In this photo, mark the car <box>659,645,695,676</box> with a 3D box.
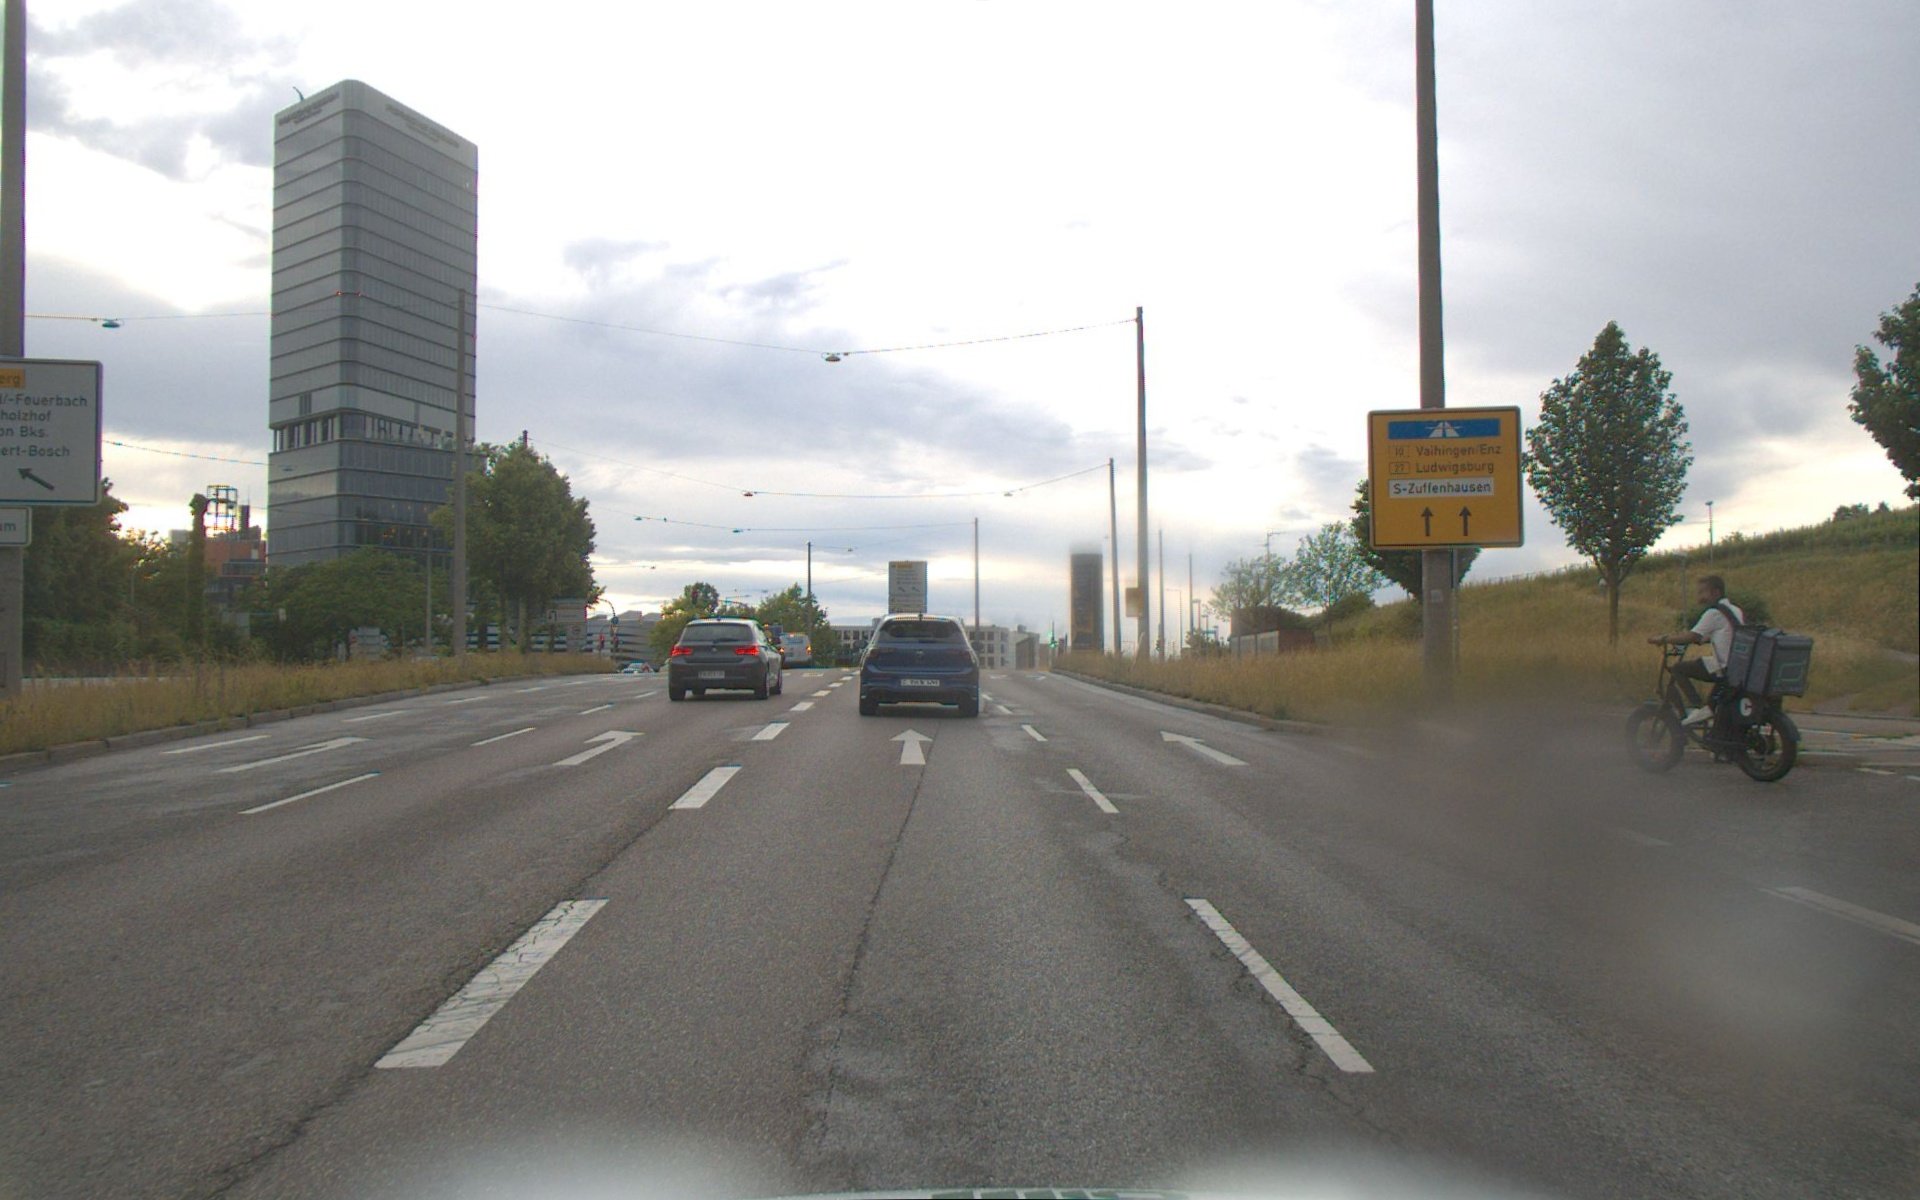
[{"bbox_3d":[-20.213,4.306,118.228,1.963,2.049,3.980,-2,0,-18],"label":"car"}]

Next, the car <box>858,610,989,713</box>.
[{"bbox_3d":[-0.517,0.908,24.882,1.800,1.418,3.999,0,-2,0],"label":"car"}]

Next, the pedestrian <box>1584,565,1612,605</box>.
[{"bbox_3d":[33.265,-0.778,86.229,0.772,2.049,1.042,-1,-1,-34],"label":"pedestrian"}]

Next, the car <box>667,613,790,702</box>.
[{"bbox_3d":[-4.185,0.998,30.398,1.831,1.487,3.974,0,0,-2],"label":"car"}]

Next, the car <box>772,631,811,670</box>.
[{"bbox_3d":[-9.336,2.803,91.559,1.869,2.008,5.081,-1,-3,-9],"label":"car"}]

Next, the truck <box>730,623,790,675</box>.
[{"bbox_3d":[-13.096,3.210,107.975,2.626,3.277,6.512,2,-3,-19],"label":"truck"}]

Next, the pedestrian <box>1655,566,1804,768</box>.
[{"bbox_3d":[6.390,0.536,13.758,0.625,1.598,0.888,-2,0,-27],"label":"pedestrian"}]

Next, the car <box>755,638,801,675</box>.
[{"bbox_3d":[-8.541,2.626,77.791,1.686,1.568,3.704,2,0,1],"label":"car"}]

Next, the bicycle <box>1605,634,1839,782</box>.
[{"bbox_3d":[6.343,0.867,13.863,0.625,1.124,1.738,-2,0,-27],"label":"bicycle"}]
